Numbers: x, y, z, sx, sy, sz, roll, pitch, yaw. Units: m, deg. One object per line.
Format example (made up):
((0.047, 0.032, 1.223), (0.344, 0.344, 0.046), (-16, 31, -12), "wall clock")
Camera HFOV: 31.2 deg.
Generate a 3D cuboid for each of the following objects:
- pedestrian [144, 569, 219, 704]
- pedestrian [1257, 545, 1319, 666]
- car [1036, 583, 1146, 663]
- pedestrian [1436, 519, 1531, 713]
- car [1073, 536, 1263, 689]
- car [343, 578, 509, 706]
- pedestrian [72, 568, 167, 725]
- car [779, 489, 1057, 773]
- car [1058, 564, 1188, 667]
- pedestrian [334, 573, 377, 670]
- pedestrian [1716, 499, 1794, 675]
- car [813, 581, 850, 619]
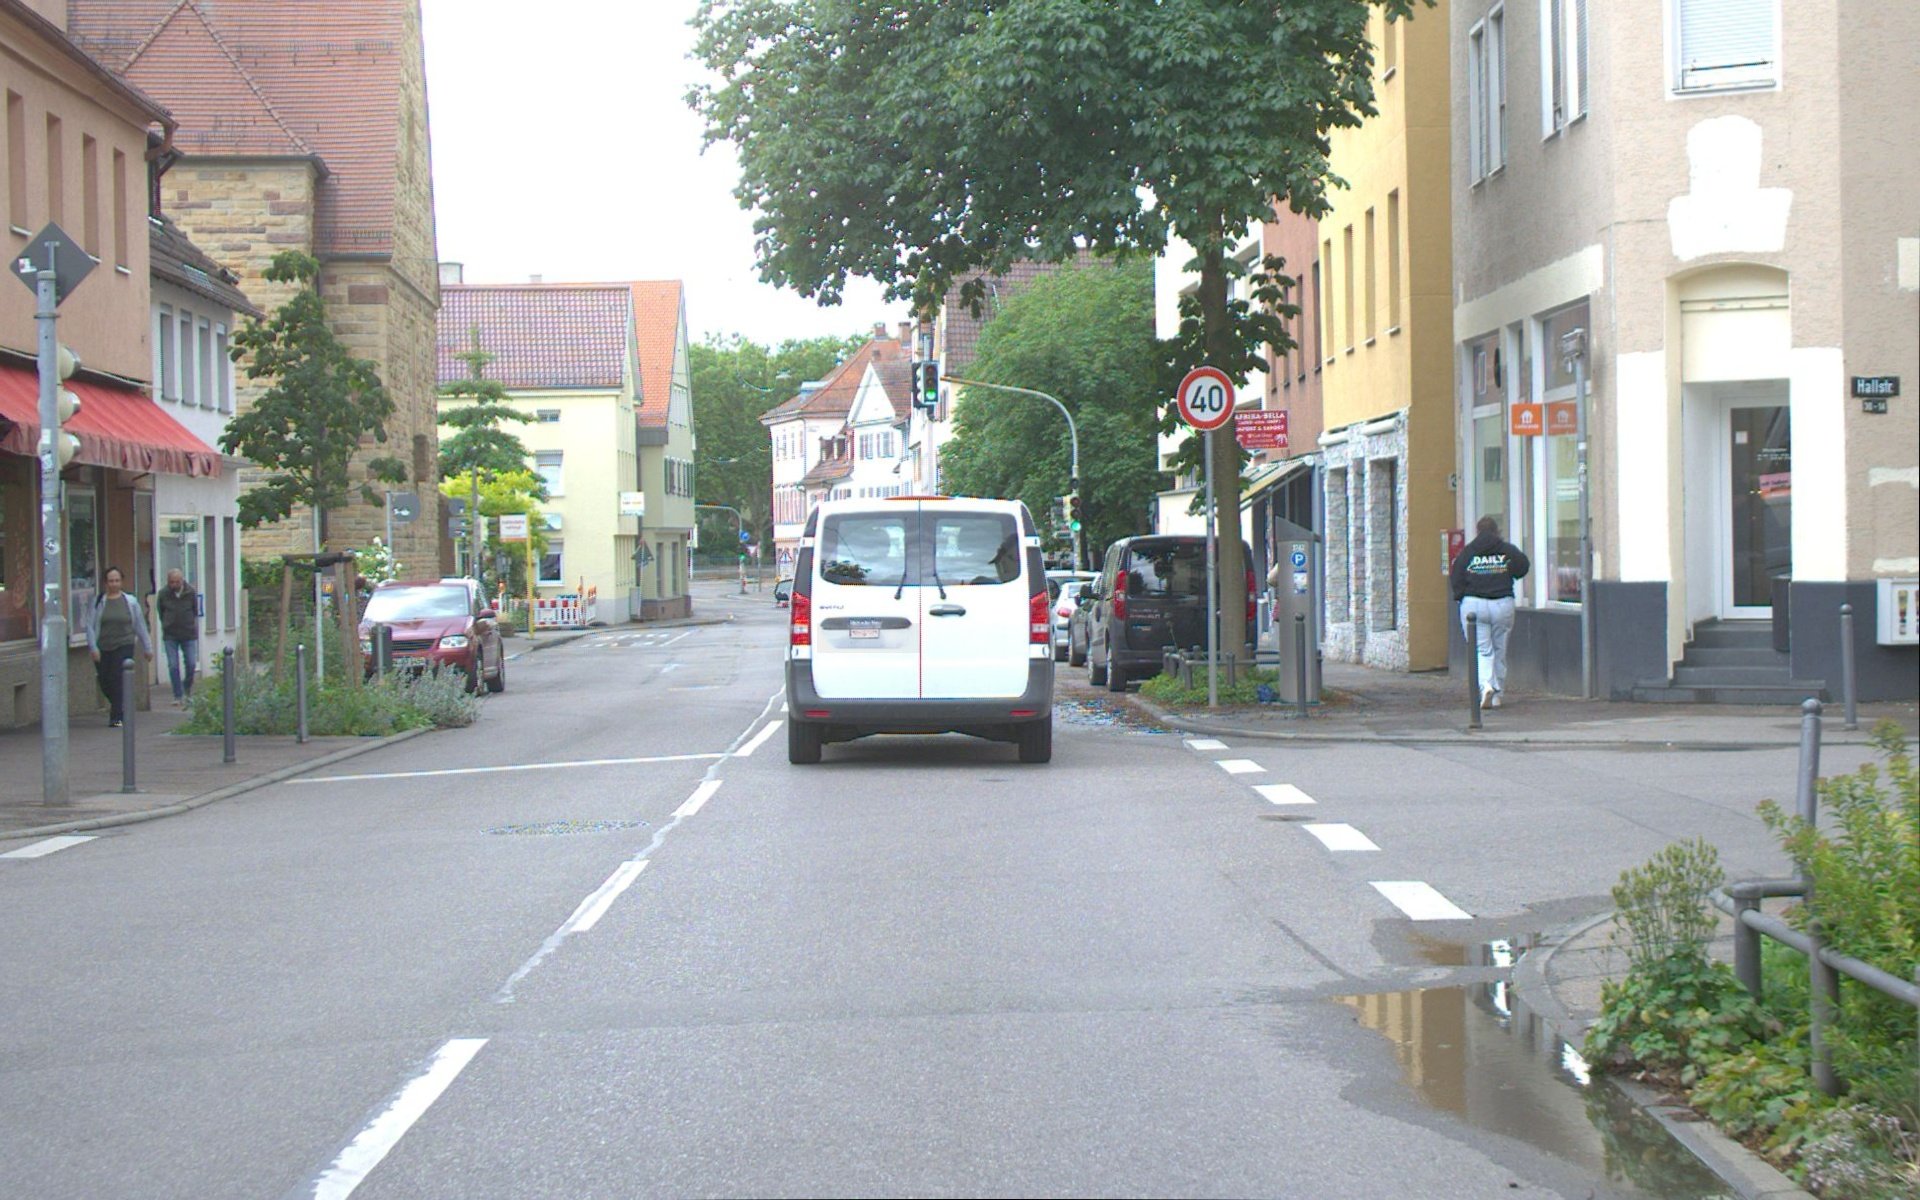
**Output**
((-9.572, 0.440, 42.268), (0.730, 1.623, 0.758), (-1, 1, -25), "pedestrian")
((4.552, 0.065, 47.763), (0.701, 1.643, 0.889), (-2, 1, -2), "pedestrian")
((2.234, 0.385, 59.438), (1.551, 1.328, 3.813), (0, 0, -3), "car")
((4.536, 0.127, 29.823), (0.614, 1.647, 0.983), (-1, 1, -2), "pedestrian")
((2.502, 0.141, 42.316), (1.819, 1.775, 4.403), (0, 0, -3), "car")
((-7.288, 0.533, 47.289), (1.702, 1.568, 4.451), (-3, 1, -2), "car")
((-8.325, 0.451, 34.093), (0.738, 1.529, 0.983), (0, 1, -3), "pedestrian")
((-0.319, 0.194, 25.356), (1.872, 1.905, 4.000), (-1, 0, -1), "car")
((2.535, 0.227, 54.267), (1.601, 1.513, 4.209), (-1, 0, -3), "car")
((-9.716, 0.343, 55.272), (0.571, 1.549, 0.697), (1, 0, -1), "pedestrian")
((7.081, -0.115, 30.627), (0.567, 1.555, 0.521), (0, 0, -1), "pedestrian")
((-6.852, -0.013, 182.848), (1.934, 2.007, 4.000), (0, 0, -3), "car")
